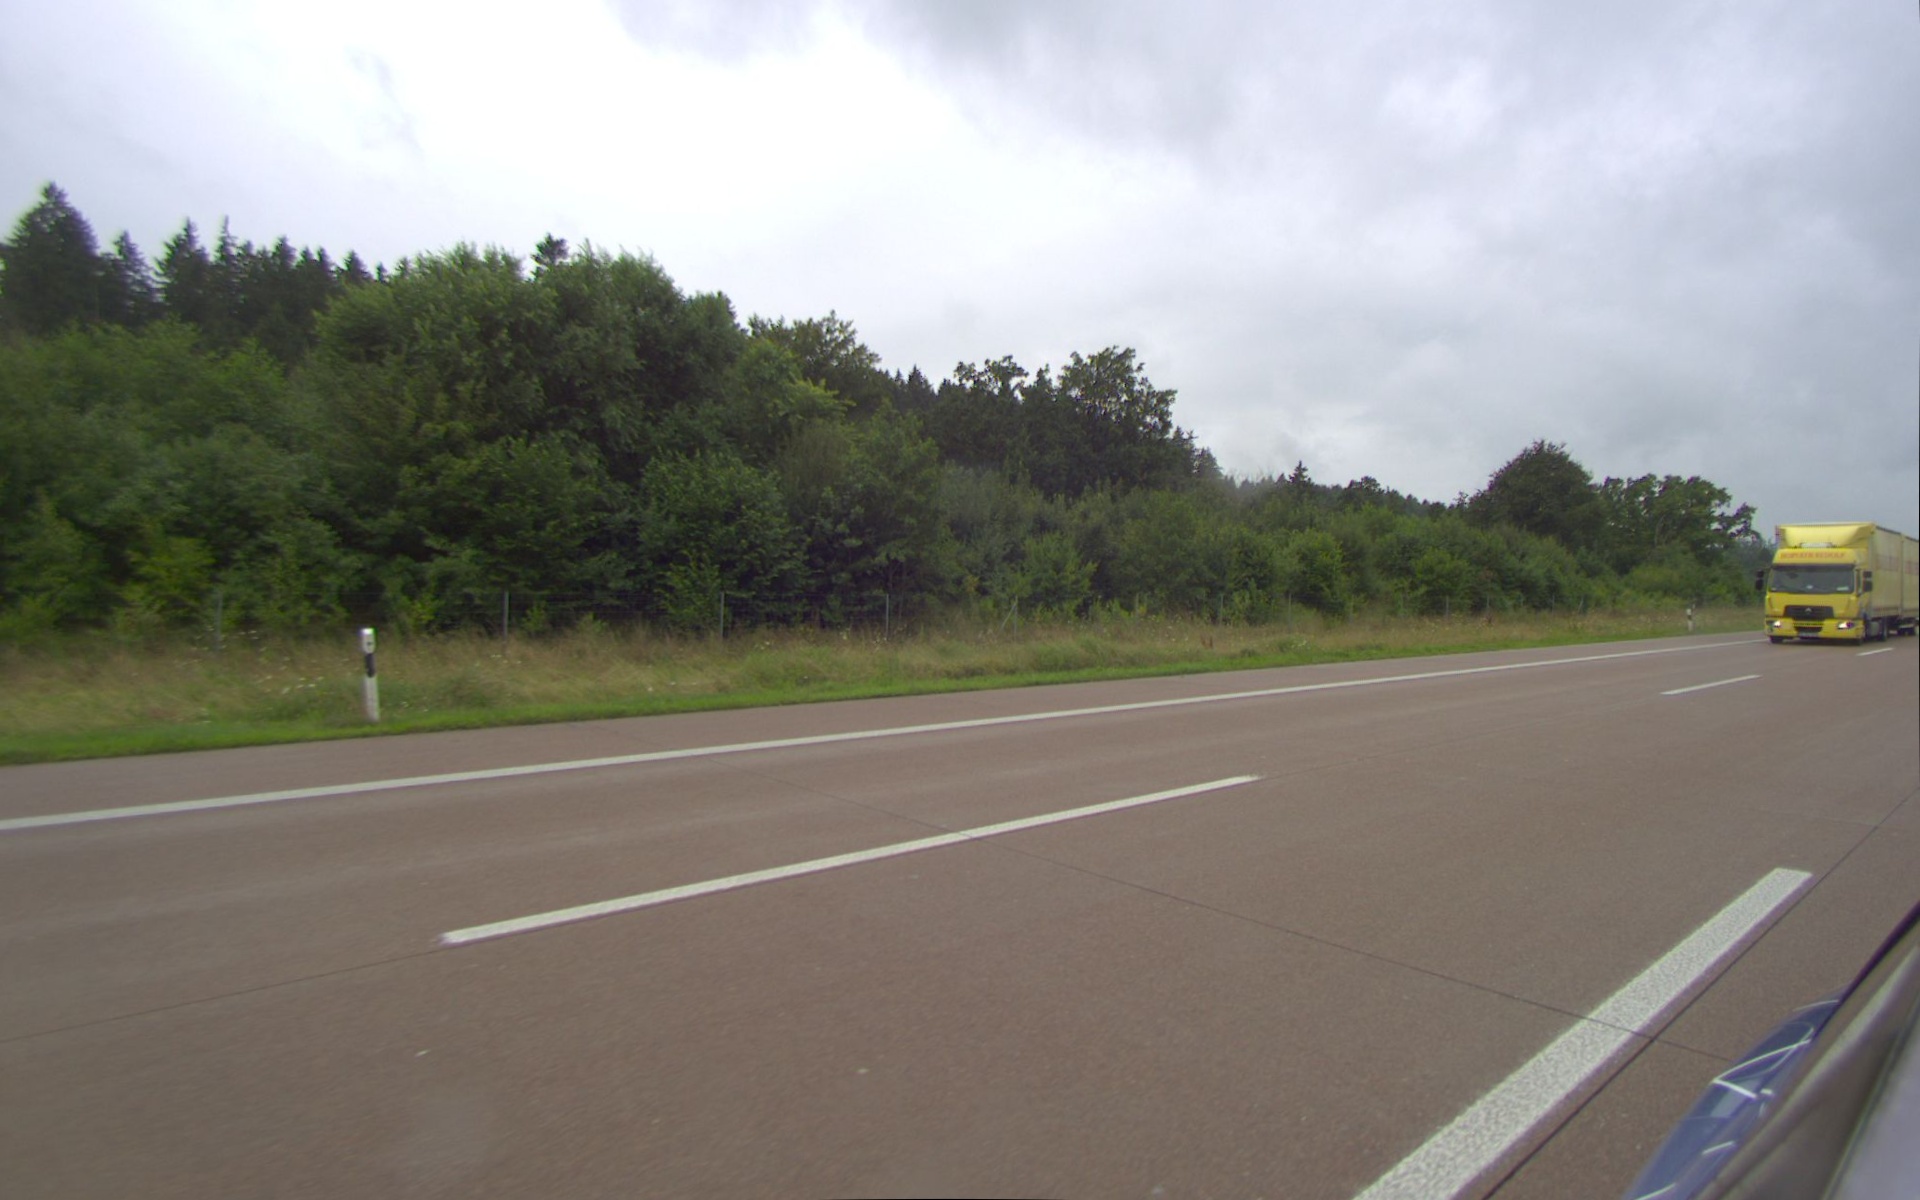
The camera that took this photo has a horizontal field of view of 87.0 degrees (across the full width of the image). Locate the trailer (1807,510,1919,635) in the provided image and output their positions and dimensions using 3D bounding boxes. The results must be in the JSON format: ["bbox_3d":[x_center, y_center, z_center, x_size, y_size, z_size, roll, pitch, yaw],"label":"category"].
[{"bbox_3d":[36.798,-1.034,40.117,13.831,4.281,2.570,-1,1,-40],"label":"trailer"}]

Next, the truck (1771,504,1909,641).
[{"bbox_3d":[30.004,-0.904,34.421,6.139,4.267,2.609,-1,0,-40],"label":"truck"}]
